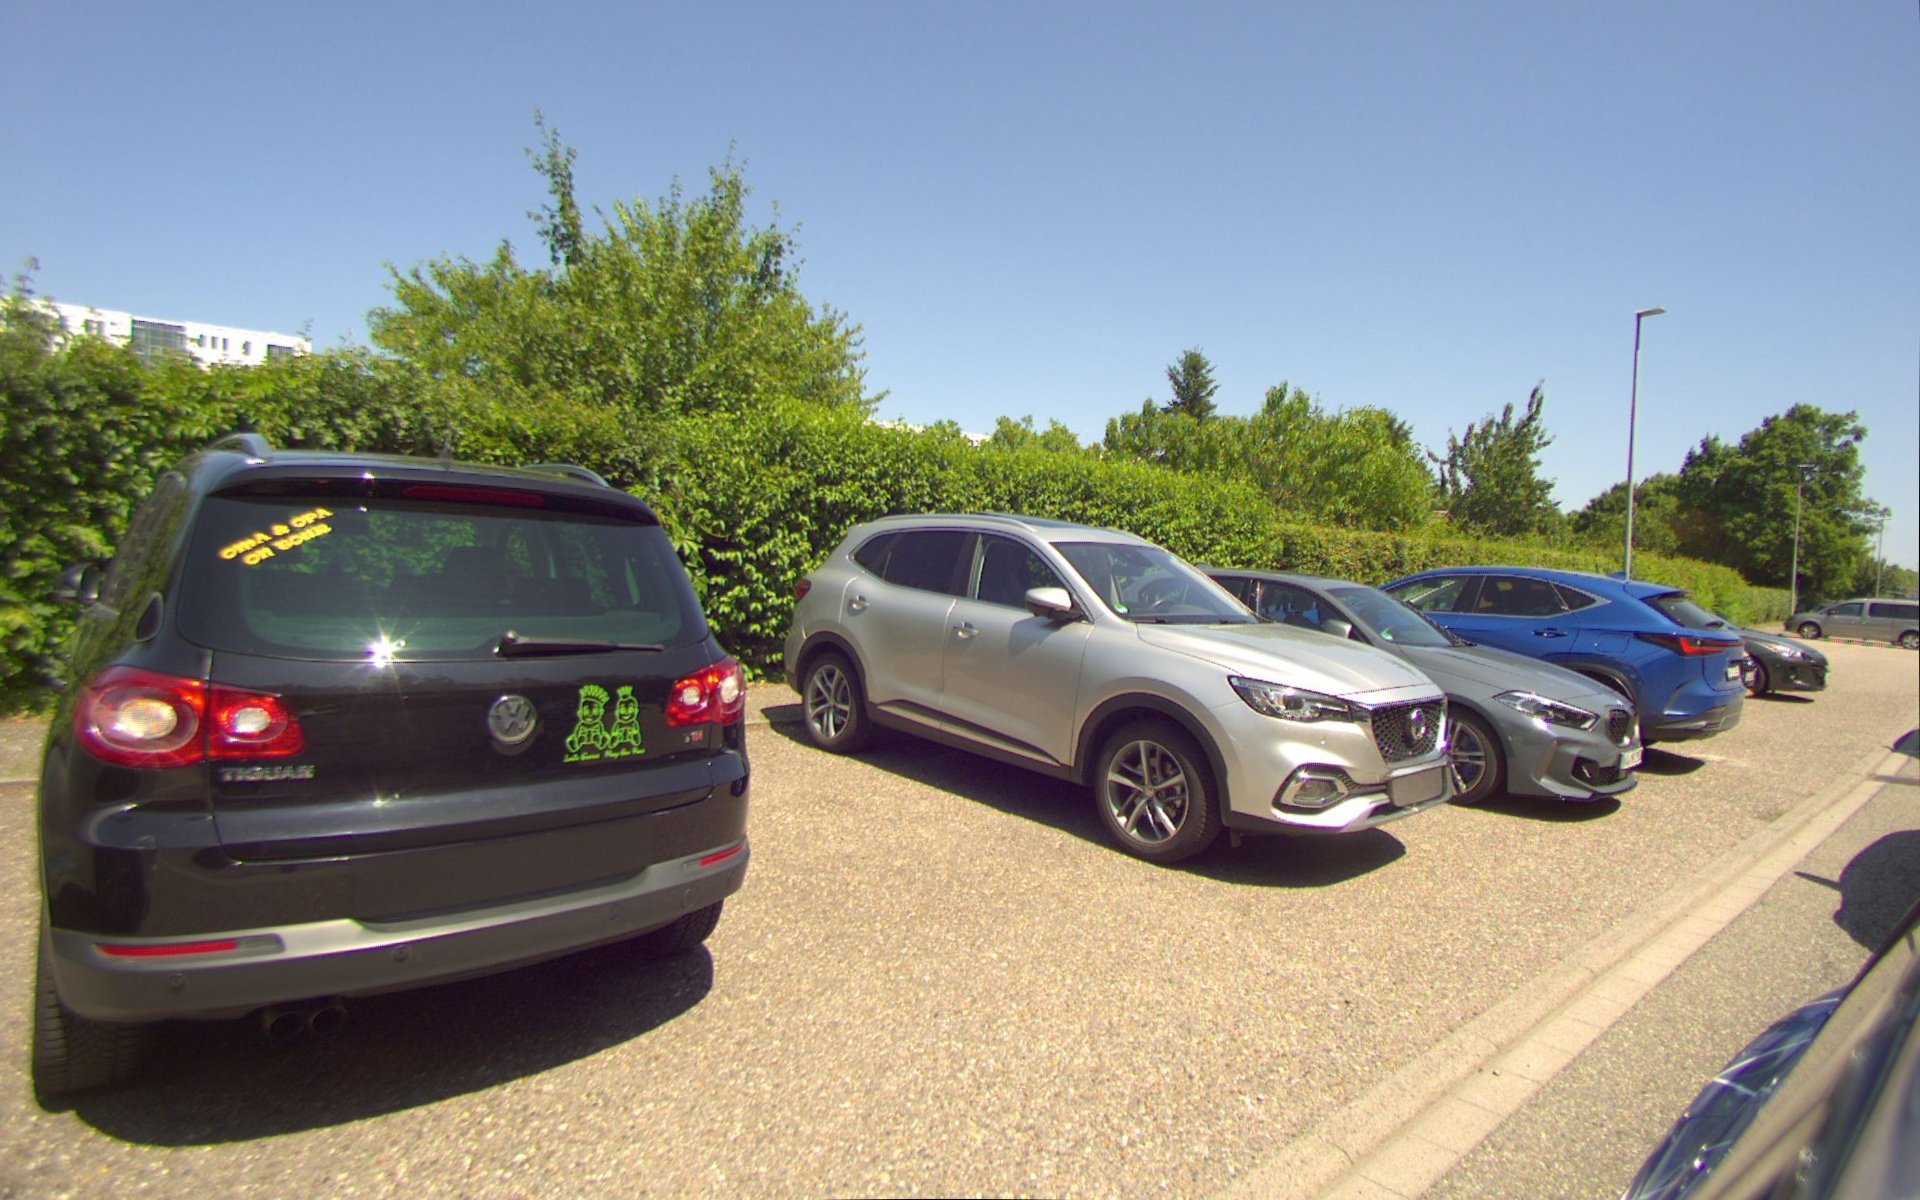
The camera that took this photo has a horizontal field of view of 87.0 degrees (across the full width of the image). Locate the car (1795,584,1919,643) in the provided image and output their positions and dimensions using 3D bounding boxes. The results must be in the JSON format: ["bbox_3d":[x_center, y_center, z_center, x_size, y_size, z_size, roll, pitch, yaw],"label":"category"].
[{"bbox_3d":[35.393,0.513,39.151,1.668,1.872,4.487,1,5,-44],"label":"car"}]

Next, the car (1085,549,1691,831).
[{"bbox_3d":[3.094,0.460,8.022,1.651,1.425,4.036,1,5,-41],"label":"car"}]

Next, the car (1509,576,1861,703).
[{"bbox_3d":[11.461,0.518,16.271,1.620,1.434,4.253,1,5,-40],"label":"car"}]

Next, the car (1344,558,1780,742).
[{"bbox_3d":[6.882,0.434,11.954,1.620,1.532,4.037,1,5,-40],"label":"car"}]

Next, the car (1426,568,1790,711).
[{"bbox_3d":[9.149,0.446,14.579,1.620,1.463,4.037,1,5,-40],"label":"car"}]

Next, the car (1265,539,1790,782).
[{"bbox_3d":[5.251,0.383,9.846,1.644,1.661,4.037,1,5,-40],"label":"car"}]

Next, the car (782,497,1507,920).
[{"bbox_3d":[0.800,0.305,6.317,1.746,1.661,4.168,0,5,-42],"label":"car"}]

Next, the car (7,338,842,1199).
[{"bbox_3d":[-2.322,0.235,3.906,1.735,1.706,3.983,1,4,-40],"label":"car"}]
